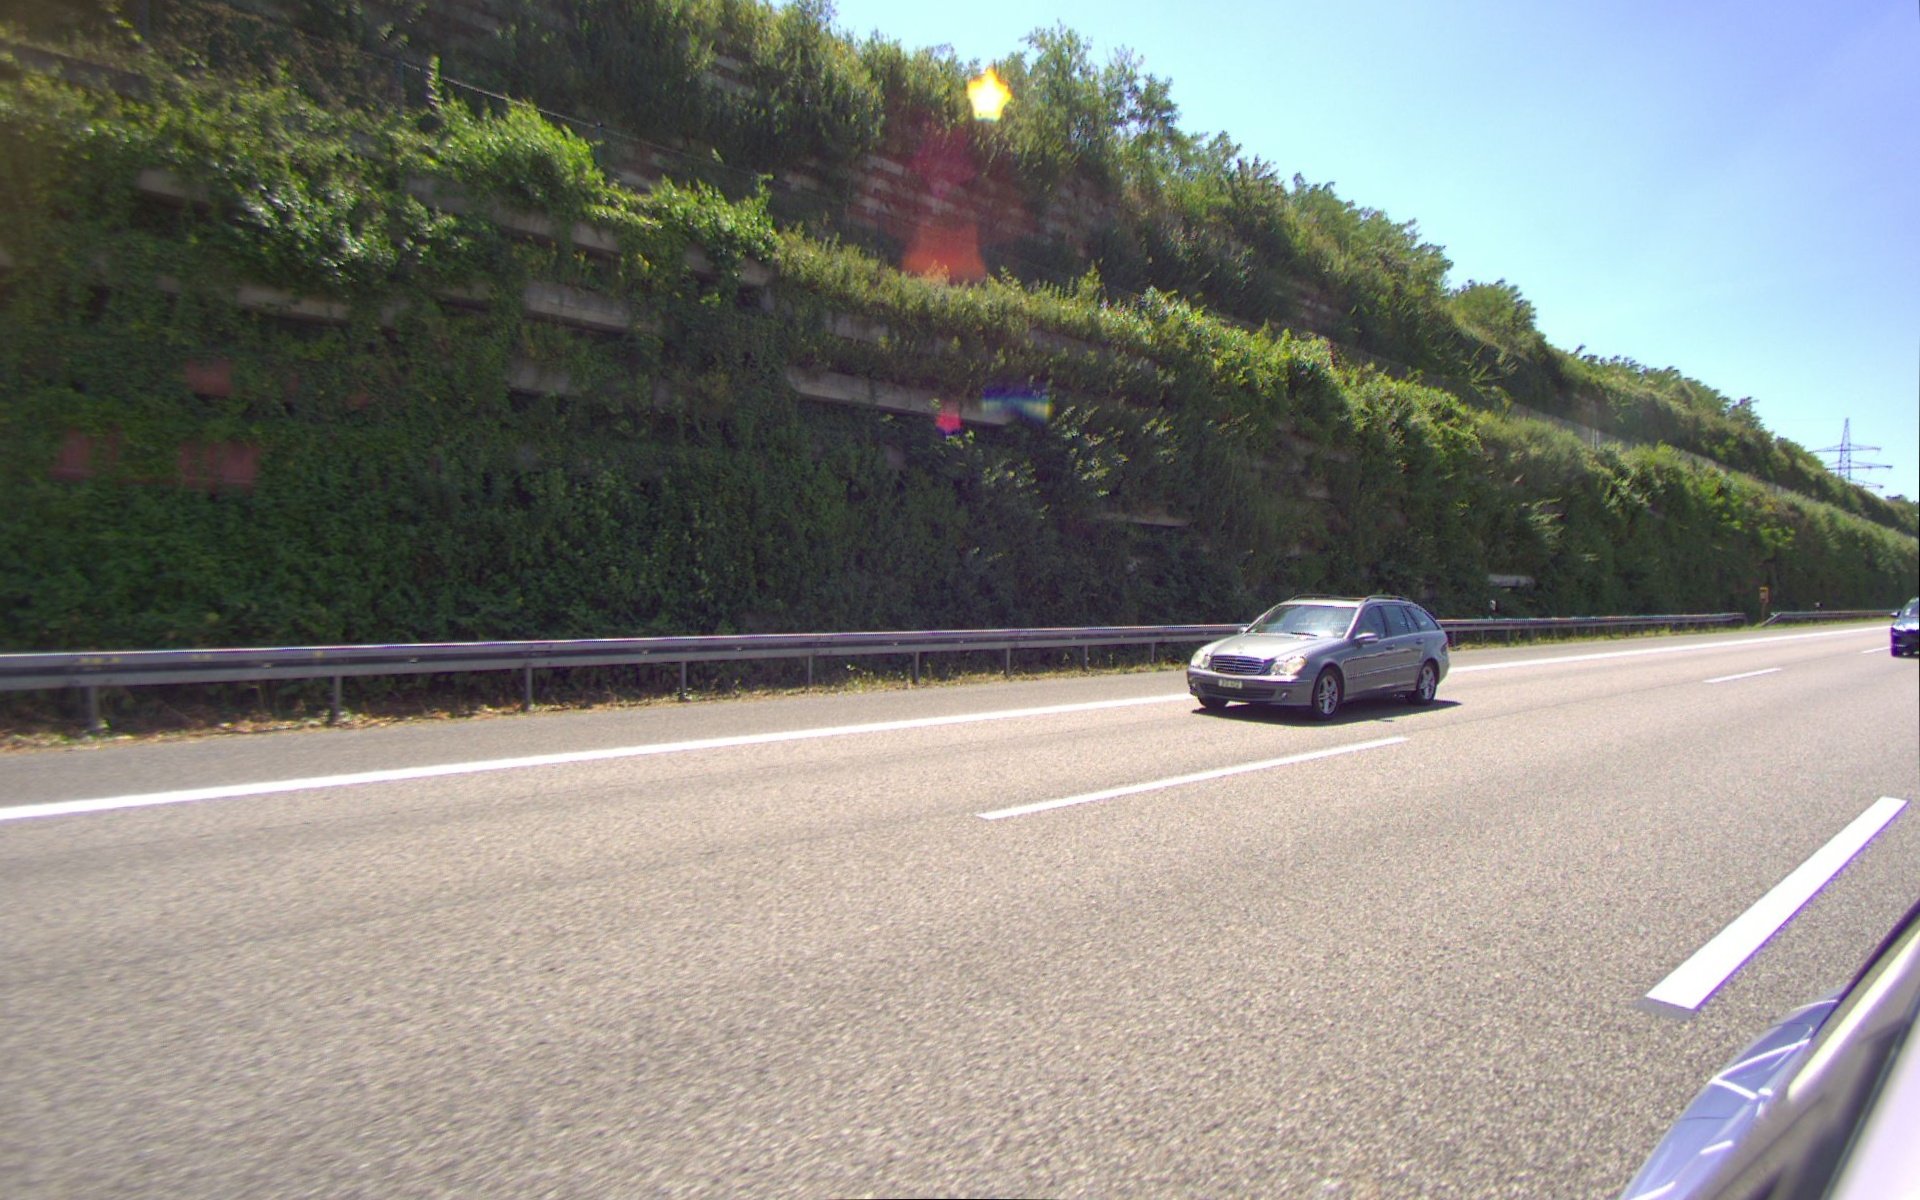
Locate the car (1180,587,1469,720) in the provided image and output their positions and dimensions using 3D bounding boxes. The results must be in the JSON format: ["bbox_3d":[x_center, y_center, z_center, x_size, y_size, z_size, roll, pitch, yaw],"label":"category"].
[{"bbox_3d":[4.890,0.579,13.256,4.376,1.446,1.687,0,1,-42],"label":"car"}]

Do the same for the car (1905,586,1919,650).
[{"bbox_3d":[27.216,0.496,27.538,4.066,1.674,1.797,0,1,-41],"label":"car"}]
